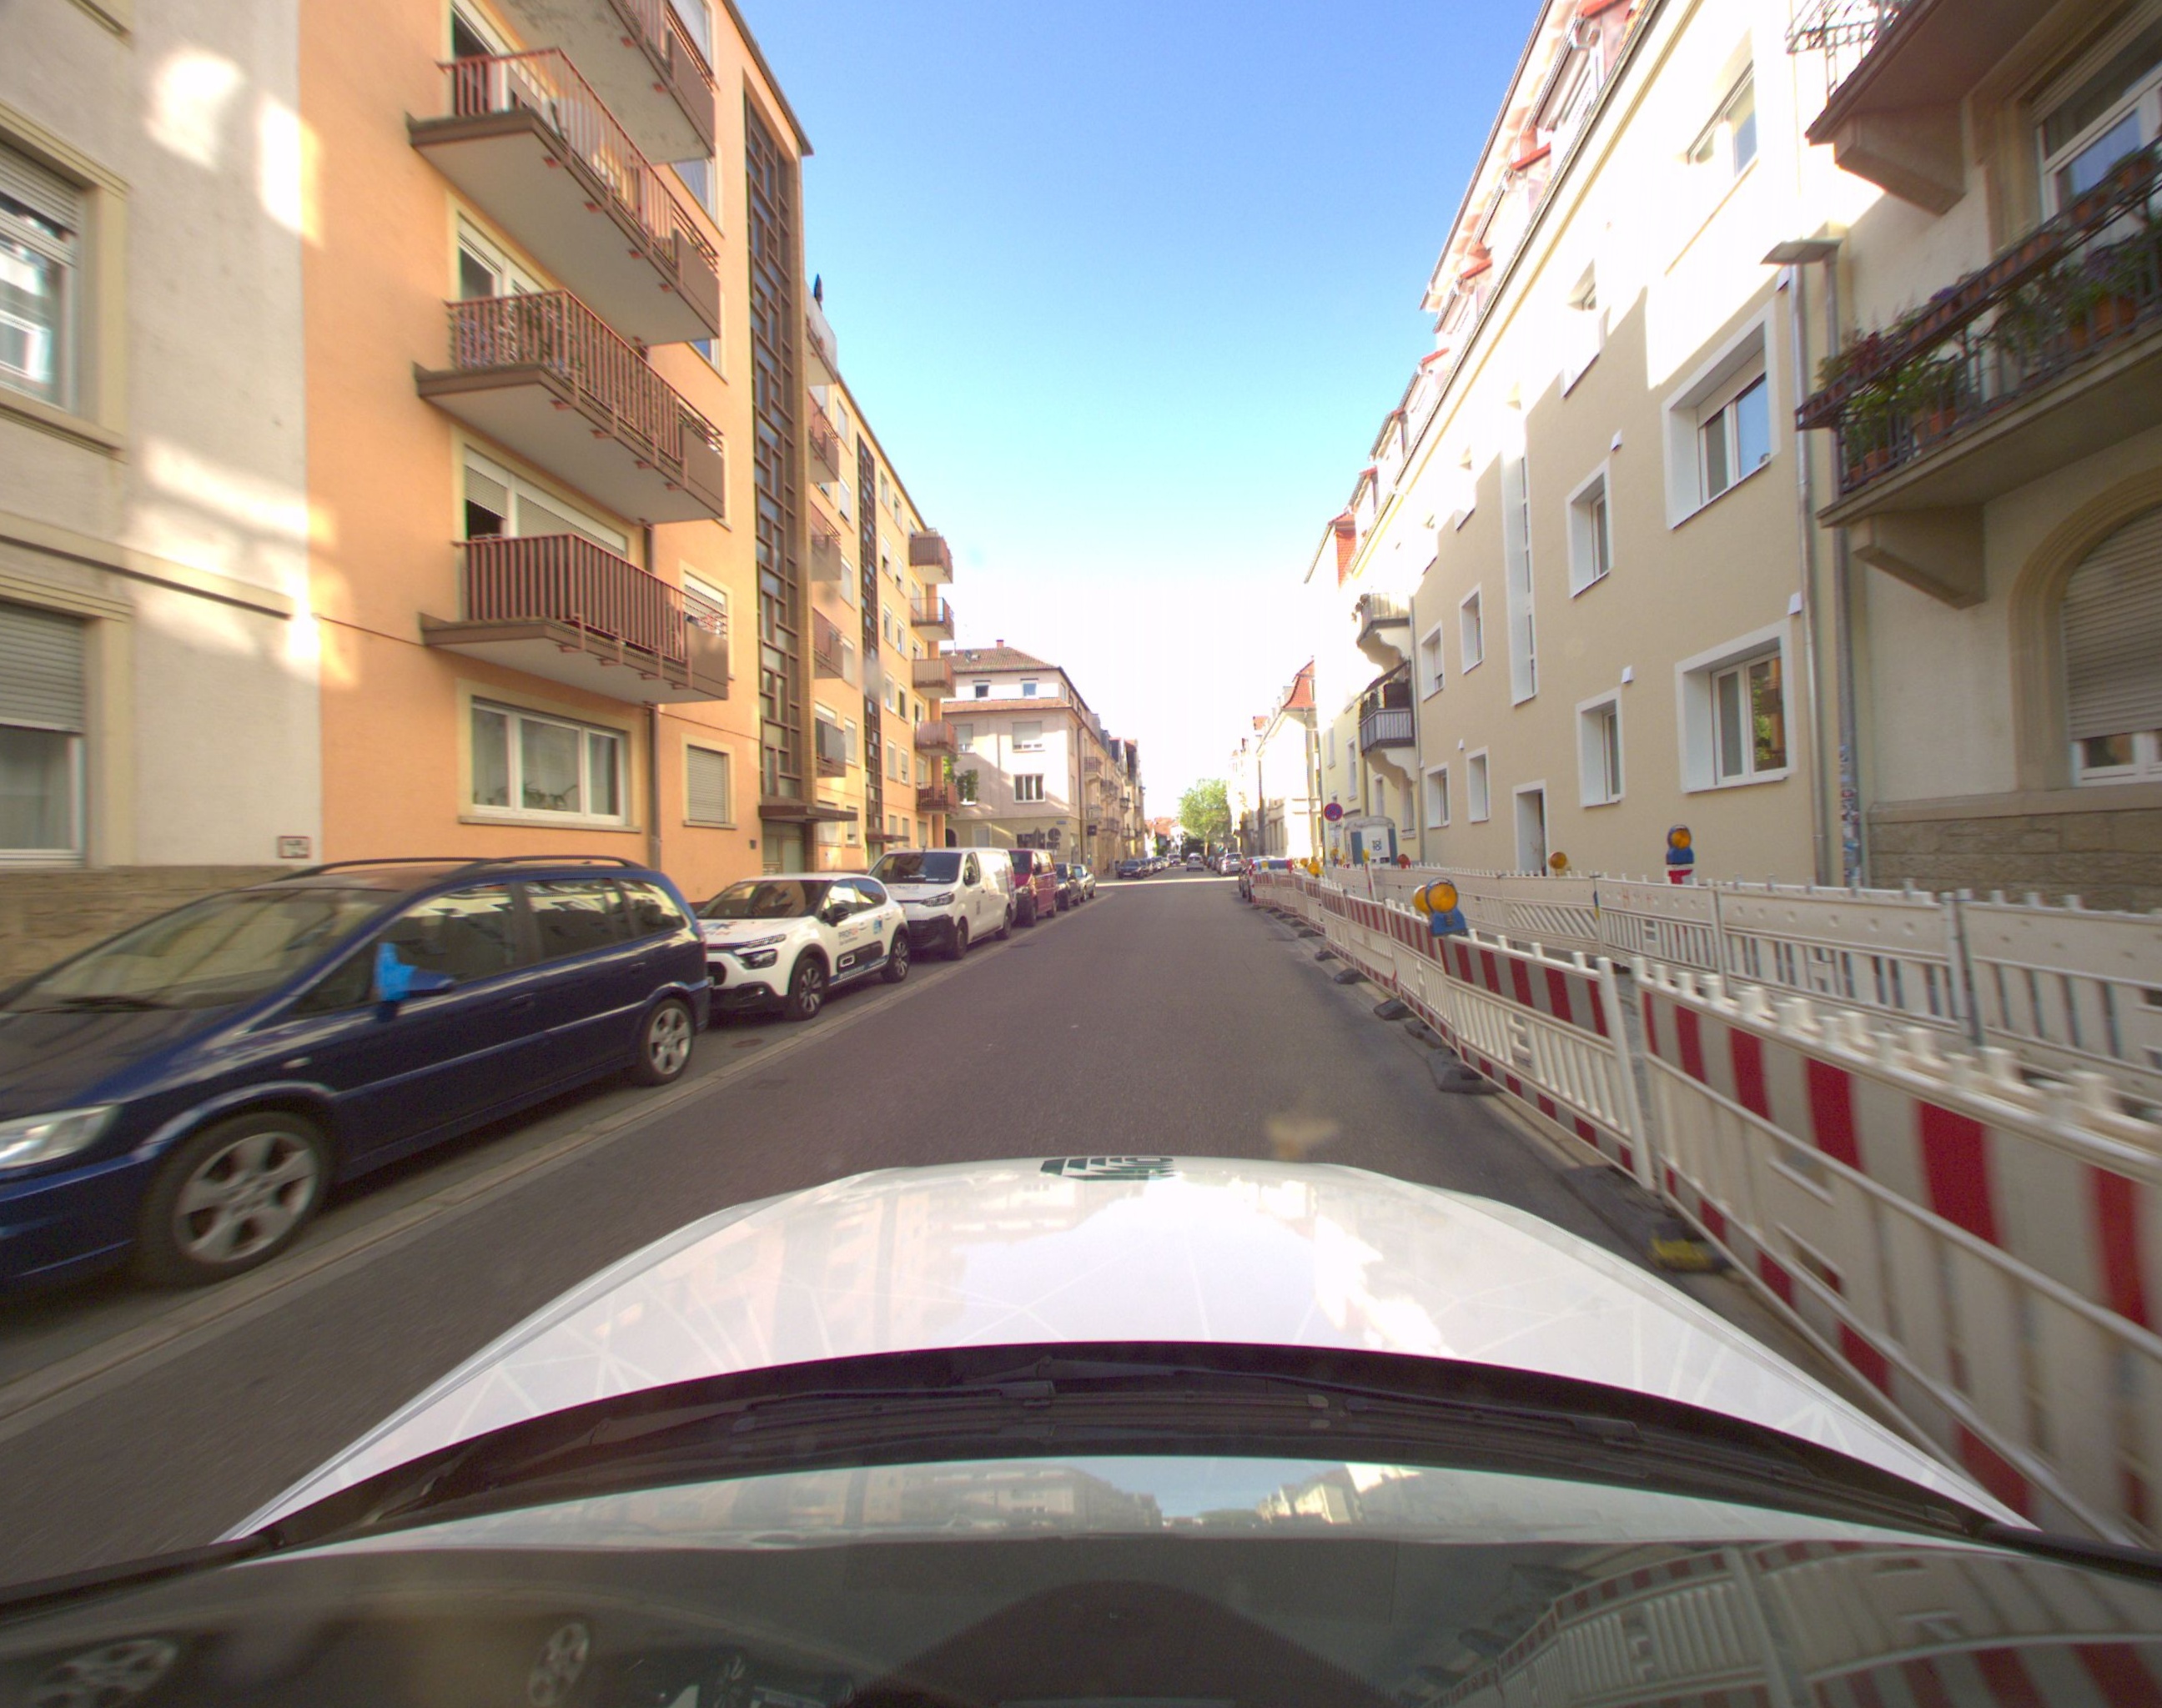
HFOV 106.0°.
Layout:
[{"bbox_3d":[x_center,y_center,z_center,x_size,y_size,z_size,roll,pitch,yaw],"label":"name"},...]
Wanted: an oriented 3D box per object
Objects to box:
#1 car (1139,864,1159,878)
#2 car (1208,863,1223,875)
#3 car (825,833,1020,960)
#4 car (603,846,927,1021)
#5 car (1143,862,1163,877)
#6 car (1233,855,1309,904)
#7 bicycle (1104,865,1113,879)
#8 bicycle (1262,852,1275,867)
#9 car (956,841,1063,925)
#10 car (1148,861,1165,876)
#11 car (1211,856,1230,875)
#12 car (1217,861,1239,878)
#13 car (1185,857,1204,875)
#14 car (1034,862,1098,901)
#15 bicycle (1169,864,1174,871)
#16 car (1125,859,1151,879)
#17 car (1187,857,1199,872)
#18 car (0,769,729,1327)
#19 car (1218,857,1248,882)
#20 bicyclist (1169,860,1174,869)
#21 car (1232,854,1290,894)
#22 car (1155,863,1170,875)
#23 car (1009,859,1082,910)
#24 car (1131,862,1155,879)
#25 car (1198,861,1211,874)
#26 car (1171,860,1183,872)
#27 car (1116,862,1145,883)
[{"bbox_3d":[7.257,1.814,86.511,1.968,1.482,4.336,1,-1,7],"label":"car"},{"bbox_3d":[17.472,1.956,105.765,1.828,1.432,4.037,-3,-3,8],"label":"car"},{"bbox_3d":[-2.654,0.690,15.184,1.965,1.925,5.320,-1,-1,7],"label":"car"},{"bbox_3d":[-3.401,0.776,9.797,1.753,1.621,4.303,-1,-1,7],"label":"car"},{"bbox_3d":[8.073,1.734,91.077,1.993,1.619,4.495,1,-1,7],"label":"car"},{"bbox_3d":[6.627,0.845,28.906,1.793,1.471,5.118,-4,-1,4],"label":"car"},{"bbox_3d":[2.554,1.662,75.730,0.538,1.301,1.871,0,-1,9],"label":"bicycle"},{"bbox_3d":[15.504,0.459,67.316,0.757,1.247,2.597,-1,-1,8],"label":"bicycle"},{"bbox_3d":[-1.720,0.709,21.339,1.753,1.925,4.945,-1,-1,7],"label":"car"},{"bbox_3d":[9.549,1.826,102.275,1.993,1.788,4.495,1,-1,7],"label":"car"},{"bbox_3d":[14.914,1.253,87.091,1.828,1.787,4.037,-2,-3,8],"label":"car"},{"bbox_3d":[13.394,1.433,74.345,1.828,1.432,4.037,-3,-3,8],"label":"car"},{"bbox_3d":[12.479,1.353,89.254,1.992,1.914,4.496,1,-1,8],"label":"car"},{"bbox_3d":[-0.498,1.038,32.197,1.753,1.377,4.488,2,0,8],"label":"car"},{"bbox_3d":[14.354,2.177,129.055,0.659,1.019,2.070,-3,-2,7],"label":"bicycle"},{"bbox_3d":[4.938,1.302,70.069,1.993,1.582,4.495,1,-1,7],"label":"car"},{"bbox_3d":[20.102,1.860,146.048,1.828,2.534,4.185,-3,-3,8],"label":"car"},{"bbox_3d":[-4.049,0.650,4.670,1.753,1.771,4.303,-1,-1,7],"label":"car"},{"bbox_3d":[10.855,1.159,58.263,1.901,1.645,4.786,-3,-3,10],"label":"car"},{"bbox_3d":[14.345,1.701,129.086,0.659,1.385,0.755,-3,-2,7],"label":"bicyclist"},{"bbox_3d":[7.473,0.812,34.126,1.754,1.471,4.089,-4,-1,4],"label":"car"},{"bbox_3d":[11.729,2.132,116.699,1.993,1.605,4.495,1,-1,7],"label":"car"},{"bbox_3d":[-1.090,0.965,26.928,1.753,1.502,4.007,-2,-1,6],"label":"car"},{"bbox_3d":[5.950,1.585,77.548,1.993,1.619,4.495,1,-1,7],"label":"car"},{"bbox_3d":[19.693,2.159,129.841,1.993,2.000,4.495,1,-1,7],"label":"car"},{"bbox_3d":[16.315,2.099,138.324,1.993,2.000,4.495,1,-1,7],"label":"car"},{"bbox_3d":[3.659,1.366,59.557,1.669,1.426,4.284,1,-1,9],"label":"car"}]
